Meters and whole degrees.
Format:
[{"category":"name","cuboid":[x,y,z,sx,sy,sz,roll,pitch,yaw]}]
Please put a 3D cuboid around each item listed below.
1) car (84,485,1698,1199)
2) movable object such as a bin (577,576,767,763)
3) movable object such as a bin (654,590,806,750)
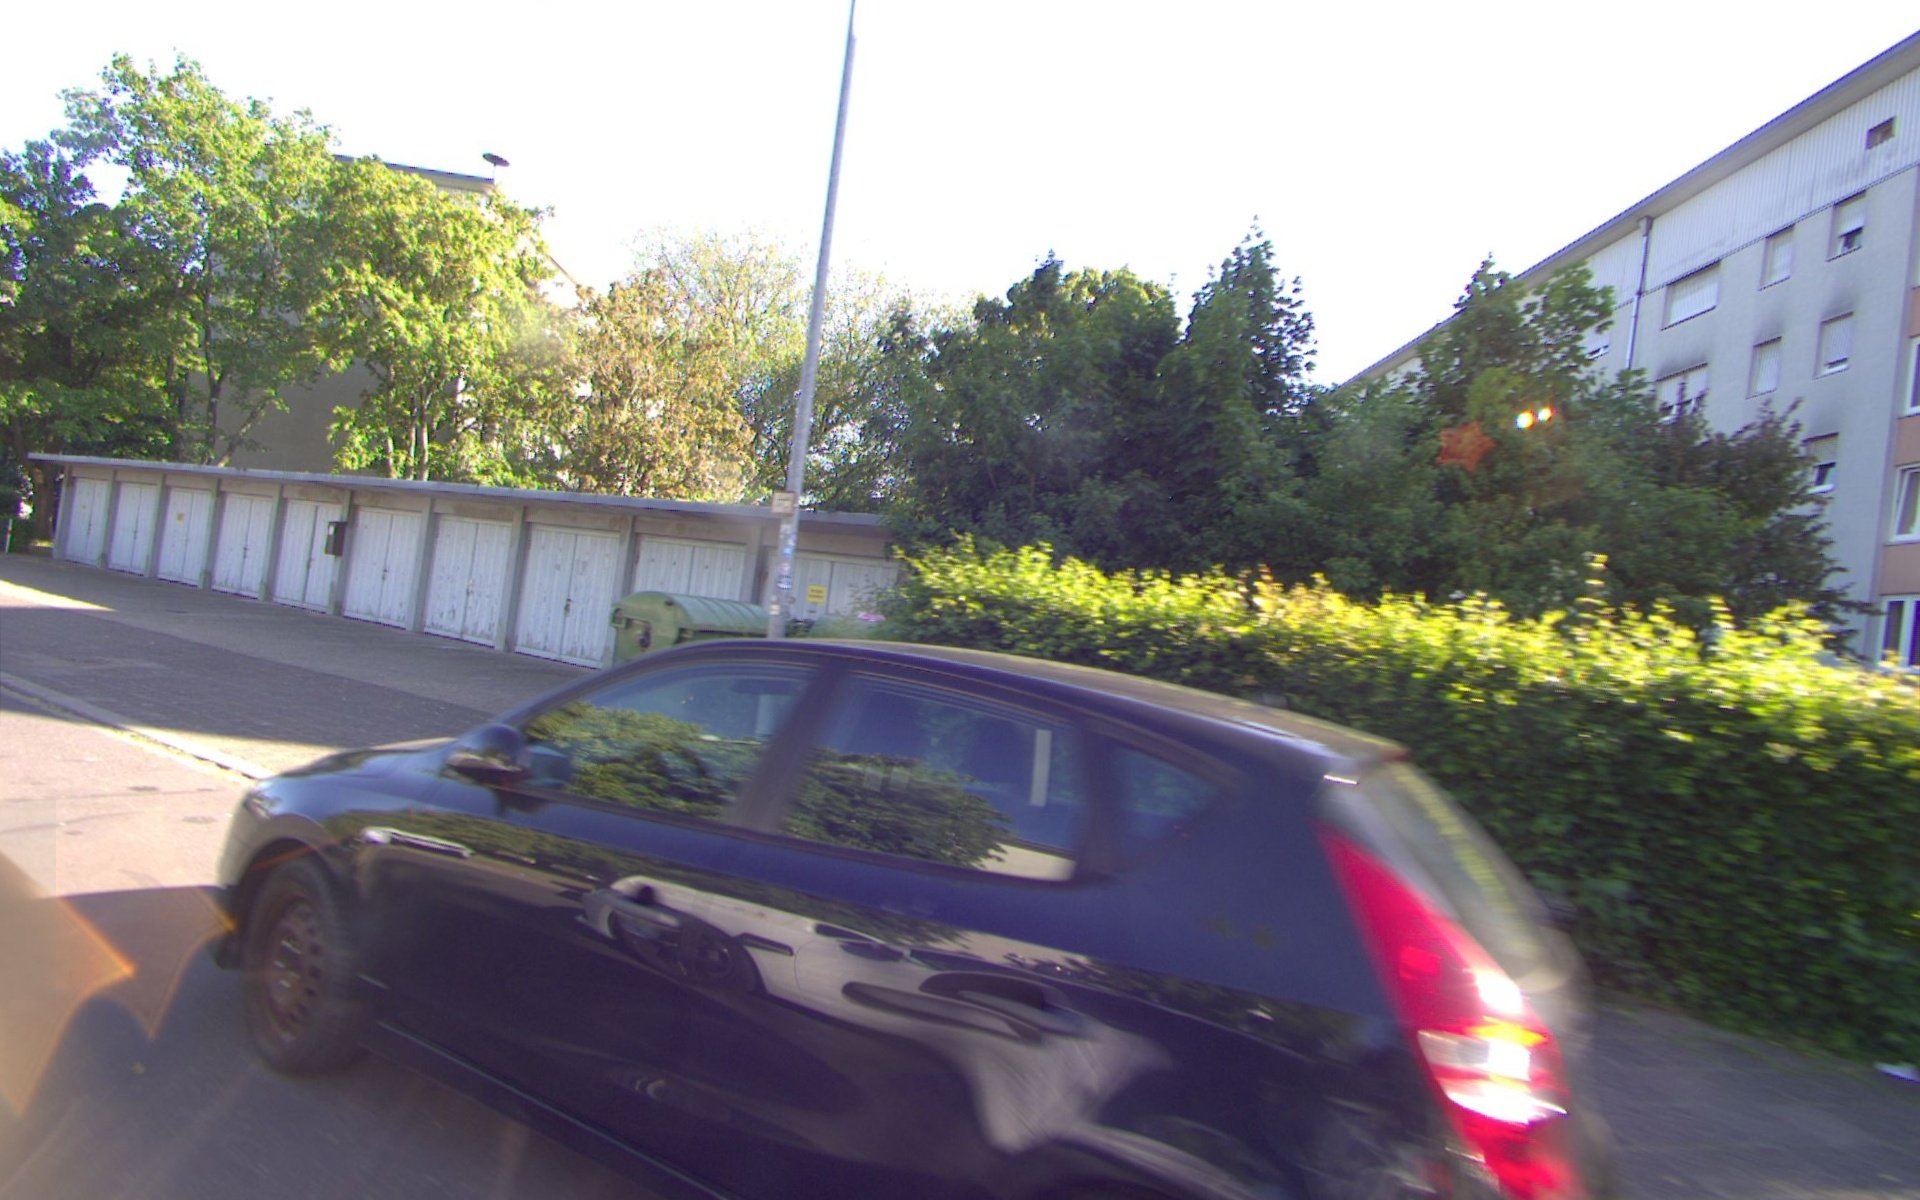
[{"category":"car","cuboid":[-0.542,0.702,3.146,4.254,1.547,1.913,7,-3,30]},{"category":"movable object such as a bin","cuboid":[-2.616,0.624,9.164,1.212,1.470,0.919,7,-1,30]},{"category":"movable object such as a bin","cuboid":[-2.368,0.724,10.417,1.008,1.470,0.919,7,-1,30]}]
